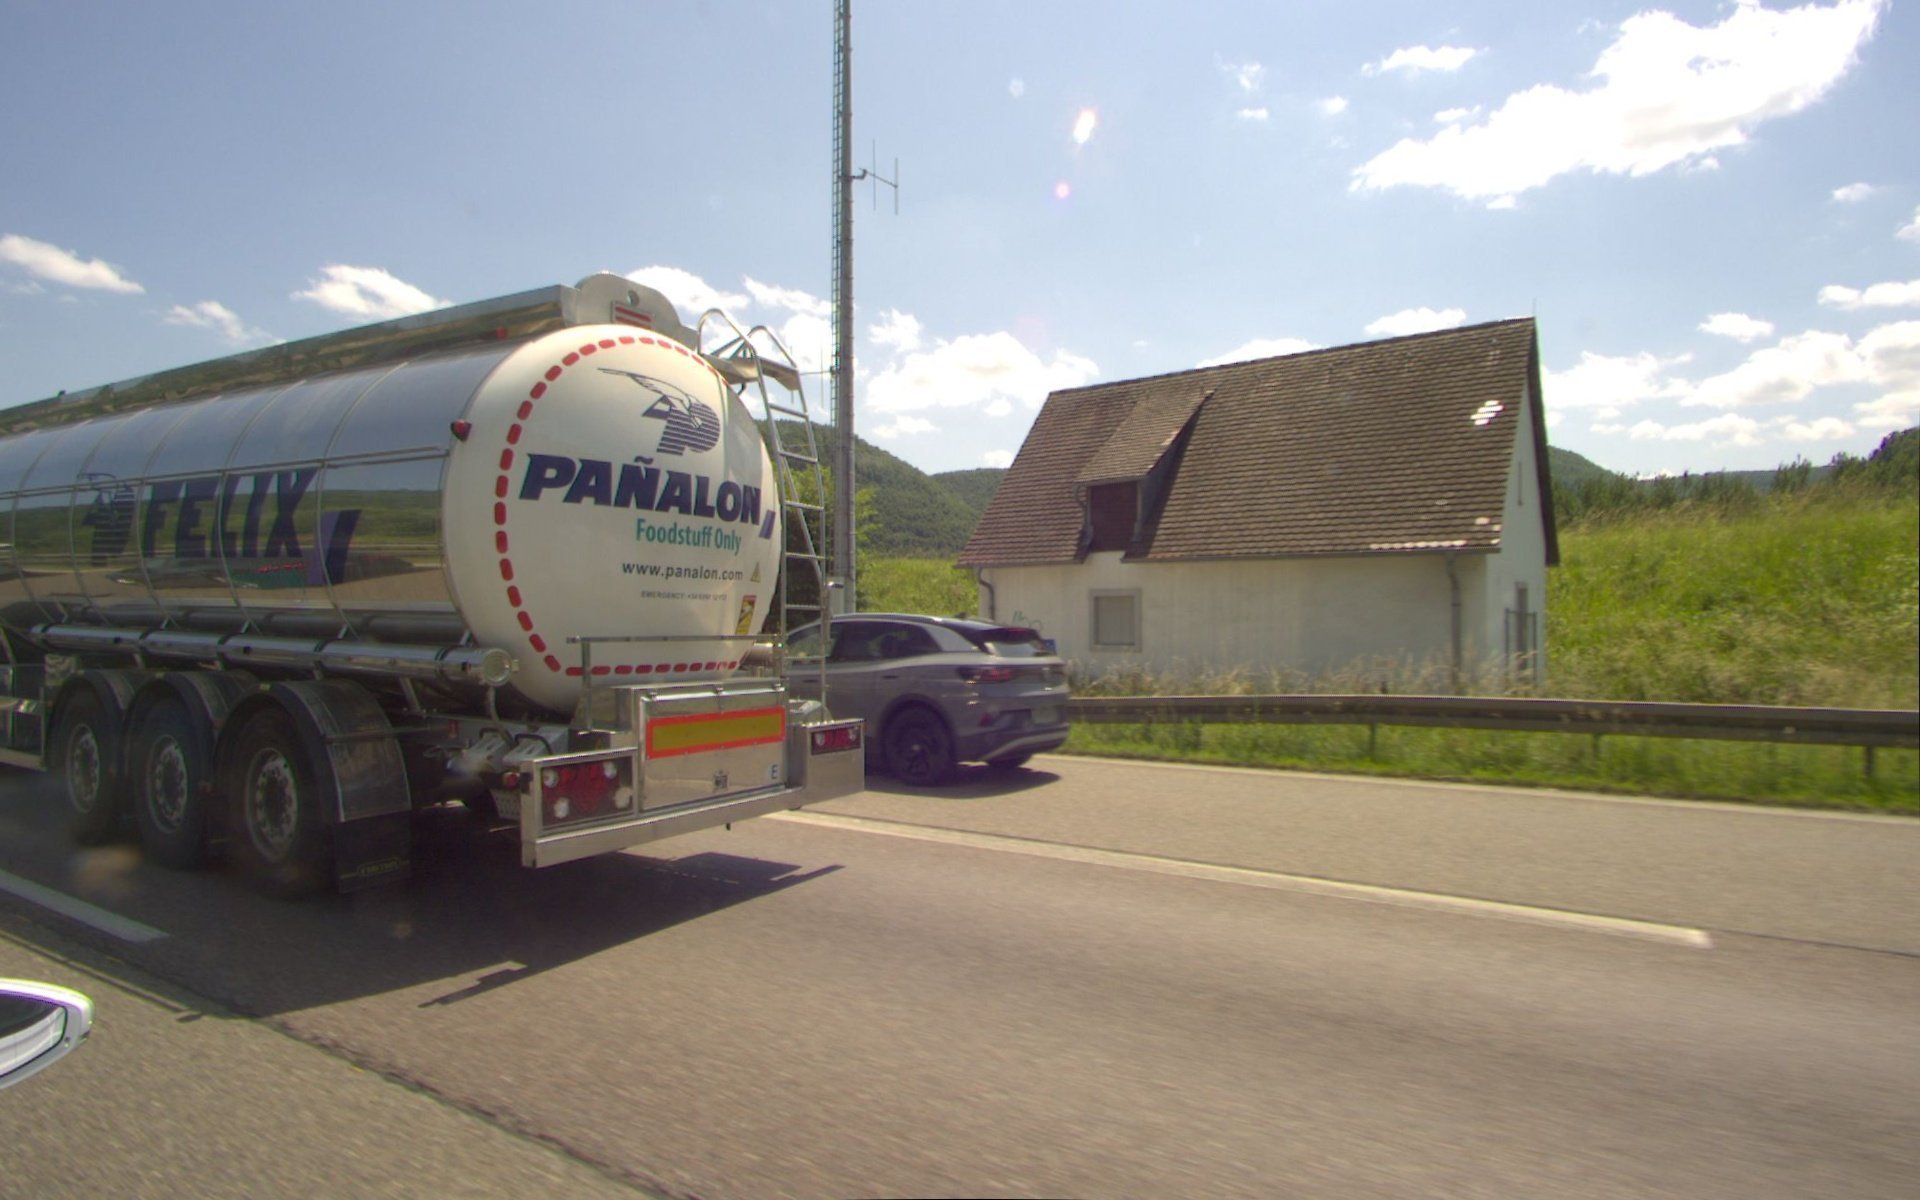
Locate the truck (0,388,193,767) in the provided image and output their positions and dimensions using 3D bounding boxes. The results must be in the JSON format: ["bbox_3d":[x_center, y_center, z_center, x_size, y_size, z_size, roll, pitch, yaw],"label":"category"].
[{"bbox_3d":[-11.633,-0.187,11.769,5.170,3.807,2.507,-1,-1,32],"label":"truck"}]

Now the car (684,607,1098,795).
[{"bbox_3d":[-0.813,0.916,10.493,4.189,1.615,1.676,-1,-1,33],"label":"car"}]

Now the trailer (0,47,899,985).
[{"bbox_3d":[-6.001,-0.248,8.235,11.720,3.784,2.534,-1,-1,32],"label":"trailer"}]
